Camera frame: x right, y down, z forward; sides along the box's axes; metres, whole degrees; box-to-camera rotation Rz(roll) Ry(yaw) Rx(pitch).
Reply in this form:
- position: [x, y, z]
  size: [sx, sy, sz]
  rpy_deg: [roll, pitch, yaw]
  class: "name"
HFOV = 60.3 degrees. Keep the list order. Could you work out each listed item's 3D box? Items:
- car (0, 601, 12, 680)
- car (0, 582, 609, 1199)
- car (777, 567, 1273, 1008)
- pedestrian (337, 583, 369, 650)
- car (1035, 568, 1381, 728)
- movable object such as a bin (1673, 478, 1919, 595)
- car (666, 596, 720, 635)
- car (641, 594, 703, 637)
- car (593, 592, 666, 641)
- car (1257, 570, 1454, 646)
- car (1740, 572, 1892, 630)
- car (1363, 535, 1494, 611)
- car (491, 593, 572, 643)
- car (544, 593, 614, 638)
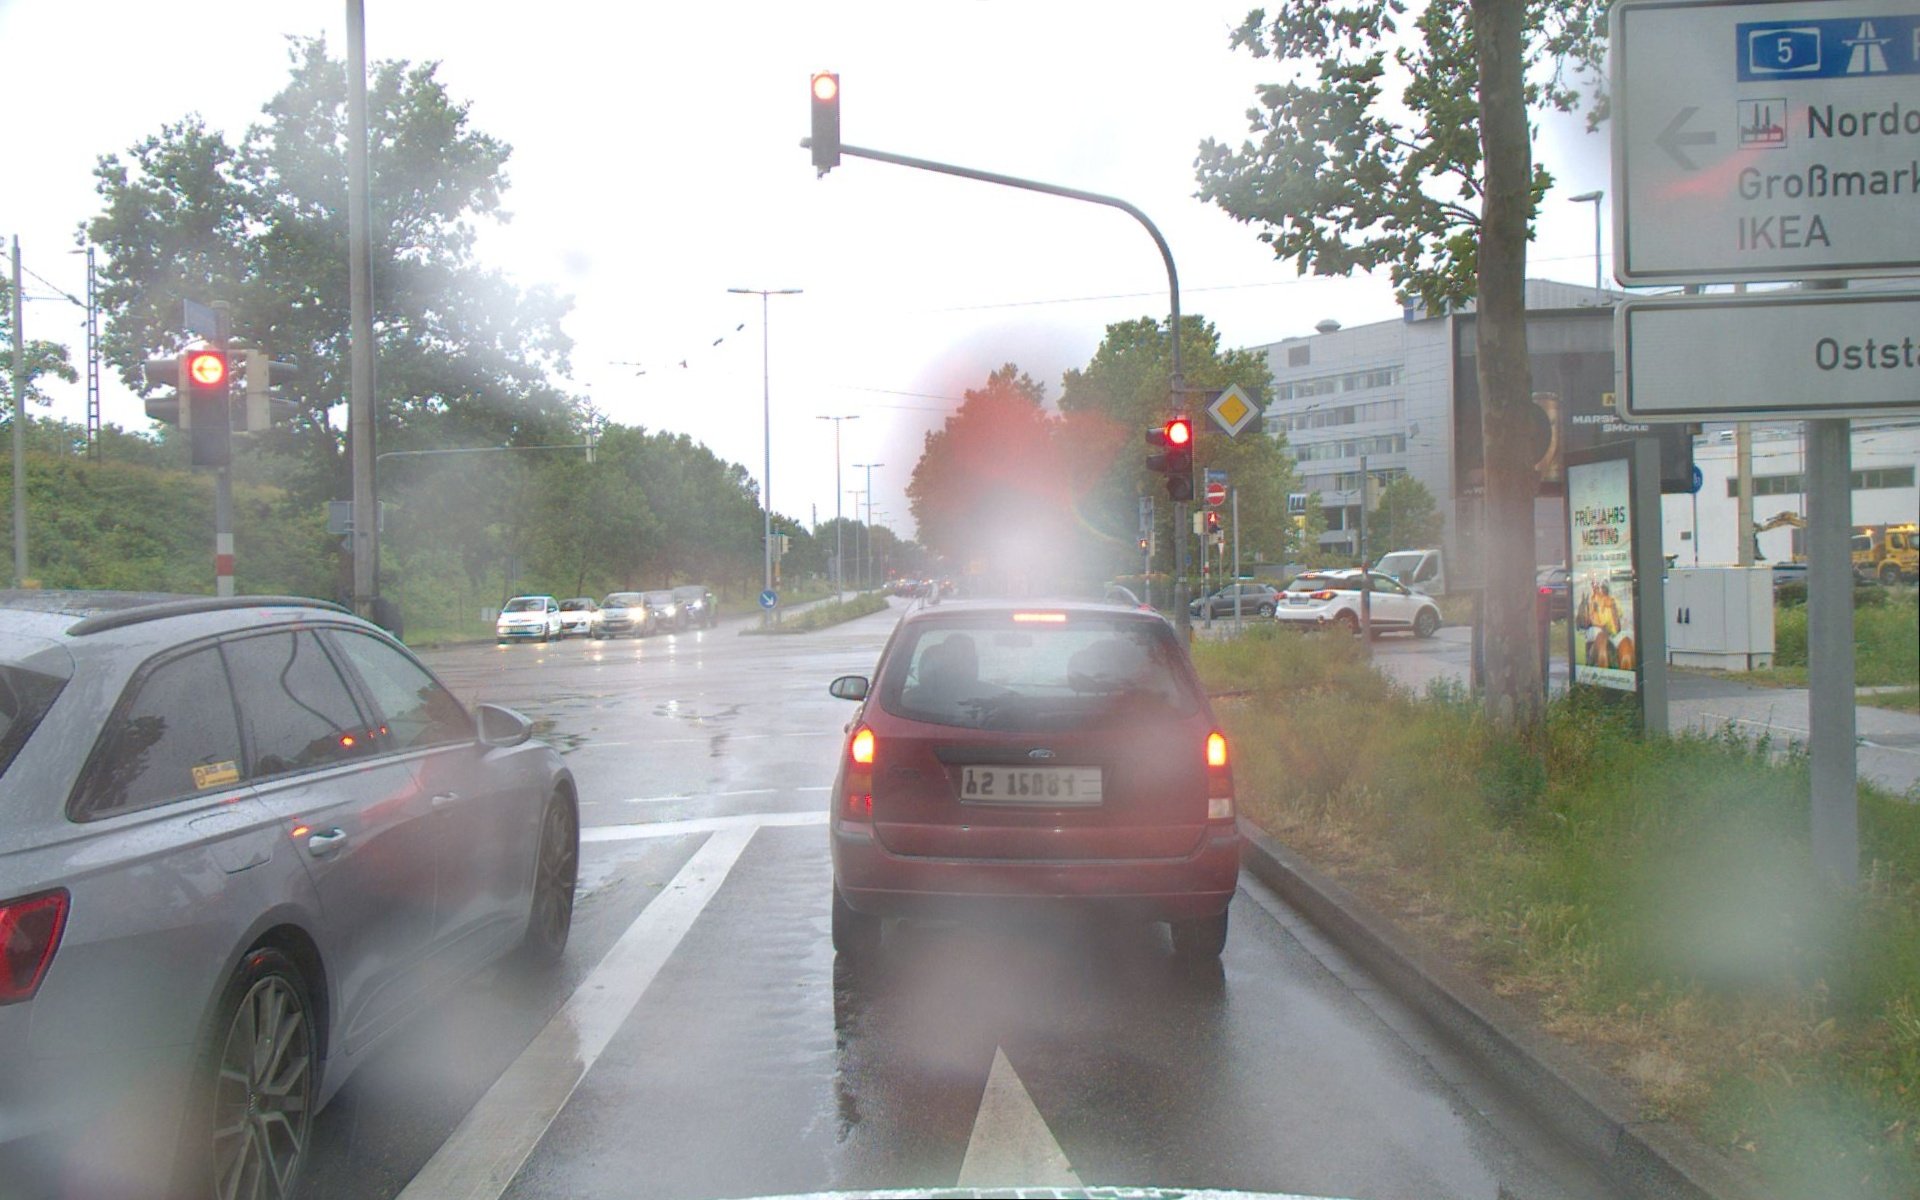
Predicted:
- position: [-19.491, 0.790, 29.824]
  size: [3.961, 1.454, 1.694]
  rpy_deg: [-2, 0, -39]
  class: "car"
- position: [-2.303, 0.697, 4.788]
  size: [1.656, 1.458, 4.573]
  rpy_deg: [0, 0, -1]
  class: "car"
- position: [0.204, 0.668, 8.119]
  size: [1.760, 1.564, 4.386]
  rpy_deg: [1, 0, -1]
  class: "car"
- position: [-16.663, 0.447, 45.414]
  size: [0.522, 1.817, 0.673]
  rpy_deg: [0, -1, 16]
  class: "pedestrian"
- position: [3.105, 0.487, 20.153]
  size: [4.349, 1.563, 1.775]
  rpy_deg: [-4, 3, -41]
  class: "car"
- position: [52.467, -3.567, 100.647]
  size: [8.168, 6.393, 14.792]
  rpy_deg: [1, -1, -34]
  class: "movable object such as a bin"
- position: [-11.365, 0.621, 70.541]
  size: [1.678, 1.556, 3.999]
  rpy_deg: [-1, 0, -1]
  class: "car"
- position: [-10.926, 0.568, 62.866]
  size: [1.678, 1.556, 3.999]
  rpy_deg: [-1, 0, -1]
  class: "car"
- position: [-11.147, 0.540, 56.003]
  size: [1.678, 1.556, 3.999]
  rpy_deg: [-1, 0, -1]
  class: "car"
- position: [8.679, 0.157, 36.217]
  size: [4.012, 1.547, 1.978]
  rpy_deg: [-1, 0, -33]
  class: "car"
- position: [24.056, 0.012, 46.470]
  size: [4.327, 1.564, 1.784]
  rpy_deg: [-1, 0, -30]
  class: "car"
- position: [15.363, -0.882, 54.171]
  size: [4.339, 2.228, 1.779]
  rpy_deg: [-4, 2, -36]
  class: "car"
- position: [-14.135, 0.569, 54.737]
  size: [1.678, 1.556, 3.999]
  rpy_deg: [-1, 0, -1]
  class: "car"
- position: [-14.067, 0.539, 61.276]
  size: [1.678, 1.556, 3.999]
  rpy_deg: [-1, 0, -1]
  class: "car"
